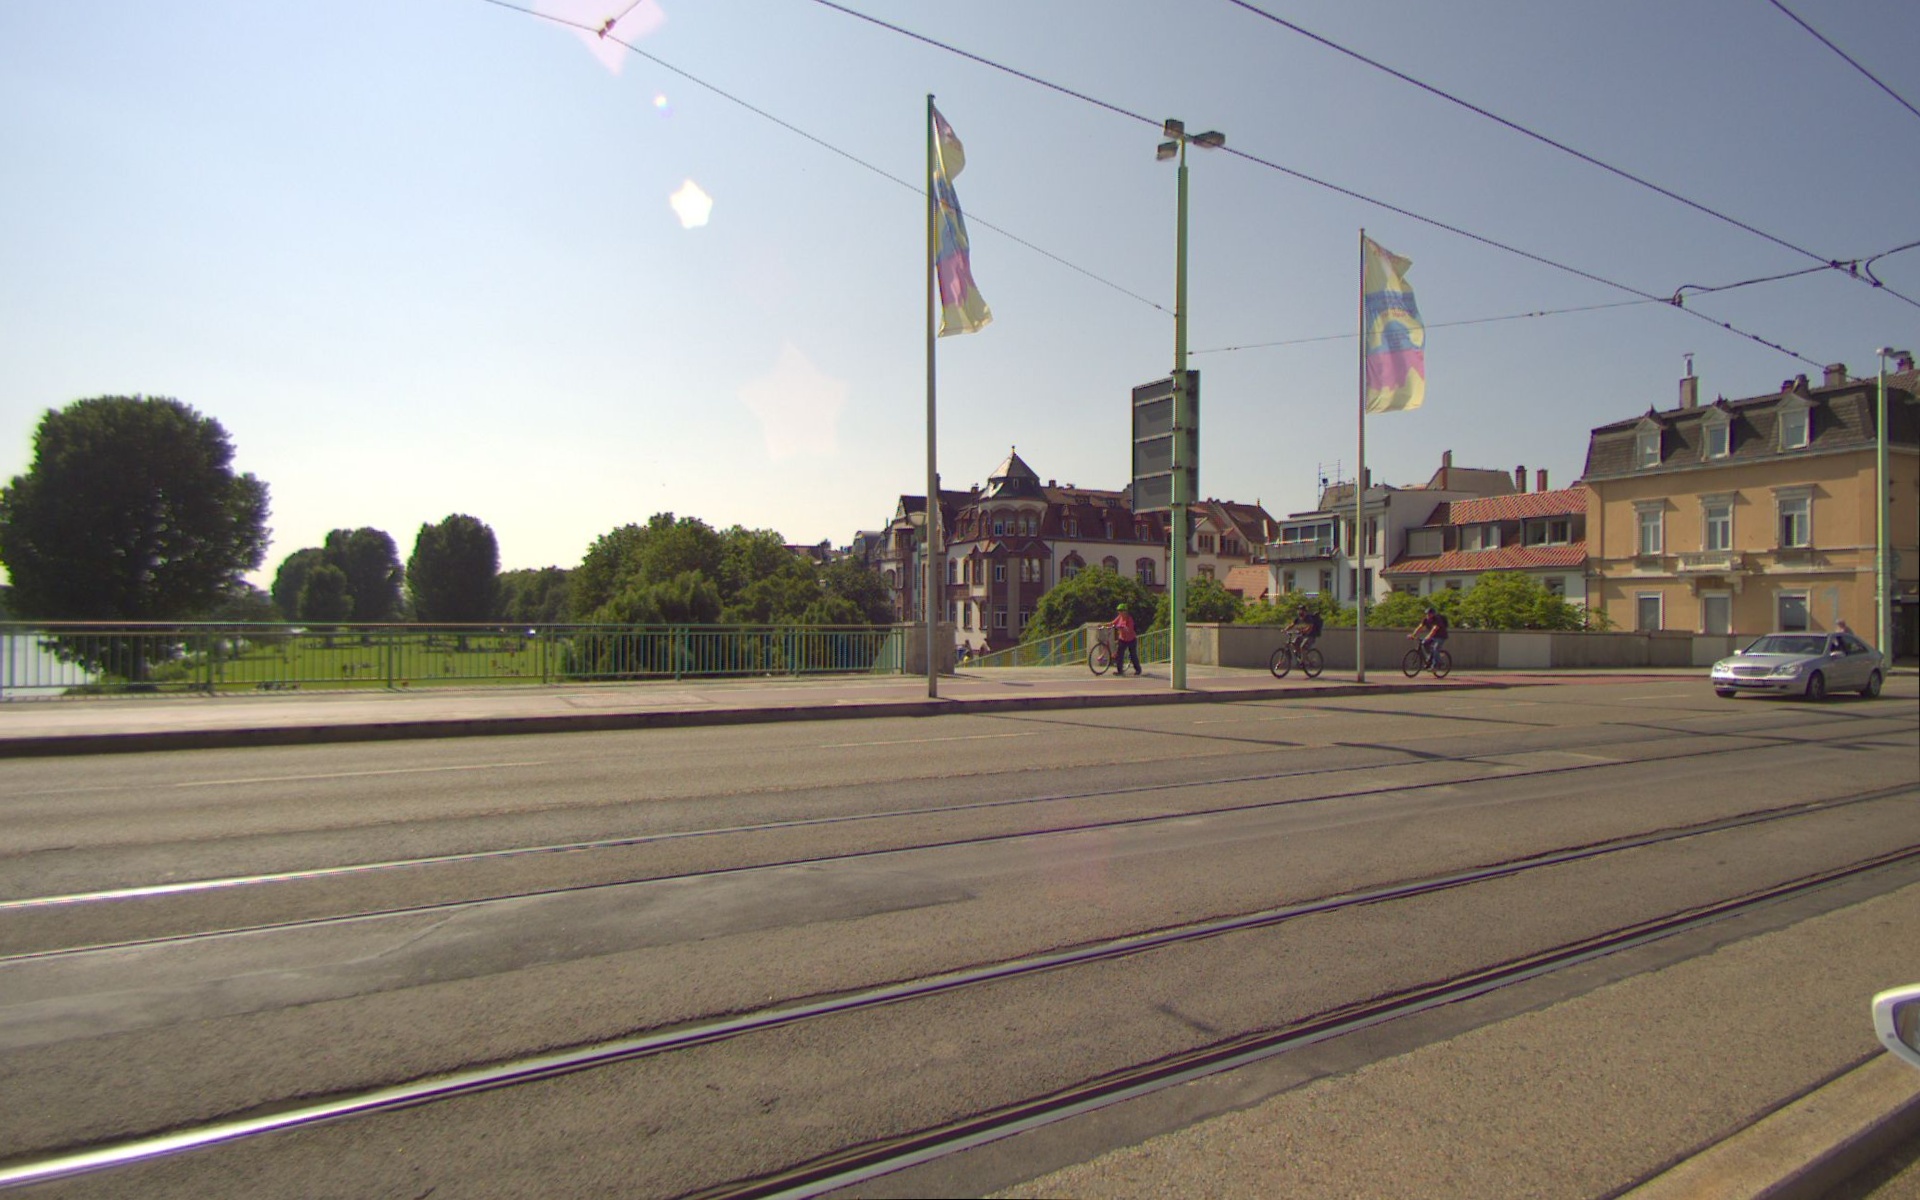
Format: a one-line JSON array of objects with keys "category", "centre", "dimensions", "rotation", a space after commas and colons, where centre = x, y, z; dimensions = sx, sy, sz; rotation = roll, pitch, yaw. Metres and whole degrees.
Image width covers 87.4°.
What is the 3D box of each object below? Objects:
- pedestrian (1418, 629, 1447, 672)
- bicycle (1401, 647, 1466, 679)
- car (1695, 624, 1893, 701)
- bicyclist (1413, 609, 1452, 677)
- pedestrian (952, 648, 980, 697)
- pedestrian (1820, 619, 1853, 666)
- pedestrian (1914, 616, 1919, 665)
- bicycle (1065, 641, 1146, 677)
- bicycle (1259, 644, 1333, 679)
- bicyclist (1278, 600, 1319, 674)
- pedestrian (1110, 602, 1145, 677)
[{"category": "pedestrian", "centre": [13.337, 1.427, 28.334], "dimensions": [0.536, 1.161, 0.411], "rotation": [2, 3, -18]}, {"category": "bicycle", "centre": [11.962, 1.582, 25.376], "dimensions": [1.711, 0.726, 0.617], "rotation": [0, 1, -30]}, {"category": "car", "centre": [17.842, 1.290, 21.458], "dimensions": [4.318, 1.480, 1.724], "rotation": [1, 0, -28]}, {"category": "bicyclist", "centre": [11.902, 1.075, 25.315], "dimensions": [0.614, 1.672, 0.624], "rotation": [0, 2, -29]}, {"category": "pedestrian", "centre": [0.233, 2.724, 37.728], "dimensions": [0.791, 1.804, 0.743], "rotation": [1, -1, -26]}, {"category": "pedestrian", "centre": [31.752, 1.530, 36.399], "dimensions": [0.559, 1.624, 0.646], "rotation": [-1, 5, -29]}, {"category": "pedestrian", "centre": [35.753, 1.516, 36.875], "dimensions": [0.778, 1.790, 0.733], "rotation": [1, 4, -30]}, {"category": "bicycle", "centre": [3.365, 1.345, 23.178], "dimensions": [1.912, 0.726, 0.617], "rotation": [0, 1, -32]}, {"category": "bicycle", "centre": [7.770, 1.404, 23.230], "dimensions": [1.750, 0.726, 0.617], "rotation": [0, 1, -30]}, {"category": "bicyclist", "centre": [7.824, 0.835, 23.242], "dimensions": [0.614, 1.672, 0.624], "rotation": [0, 2, -29]}, {"category": "pedestrian", "centre": [3.805, 0.893, 22.810], "dimensions": [0.620, 1.654, 0.410], "rotation": [1, 2, -32]}]
